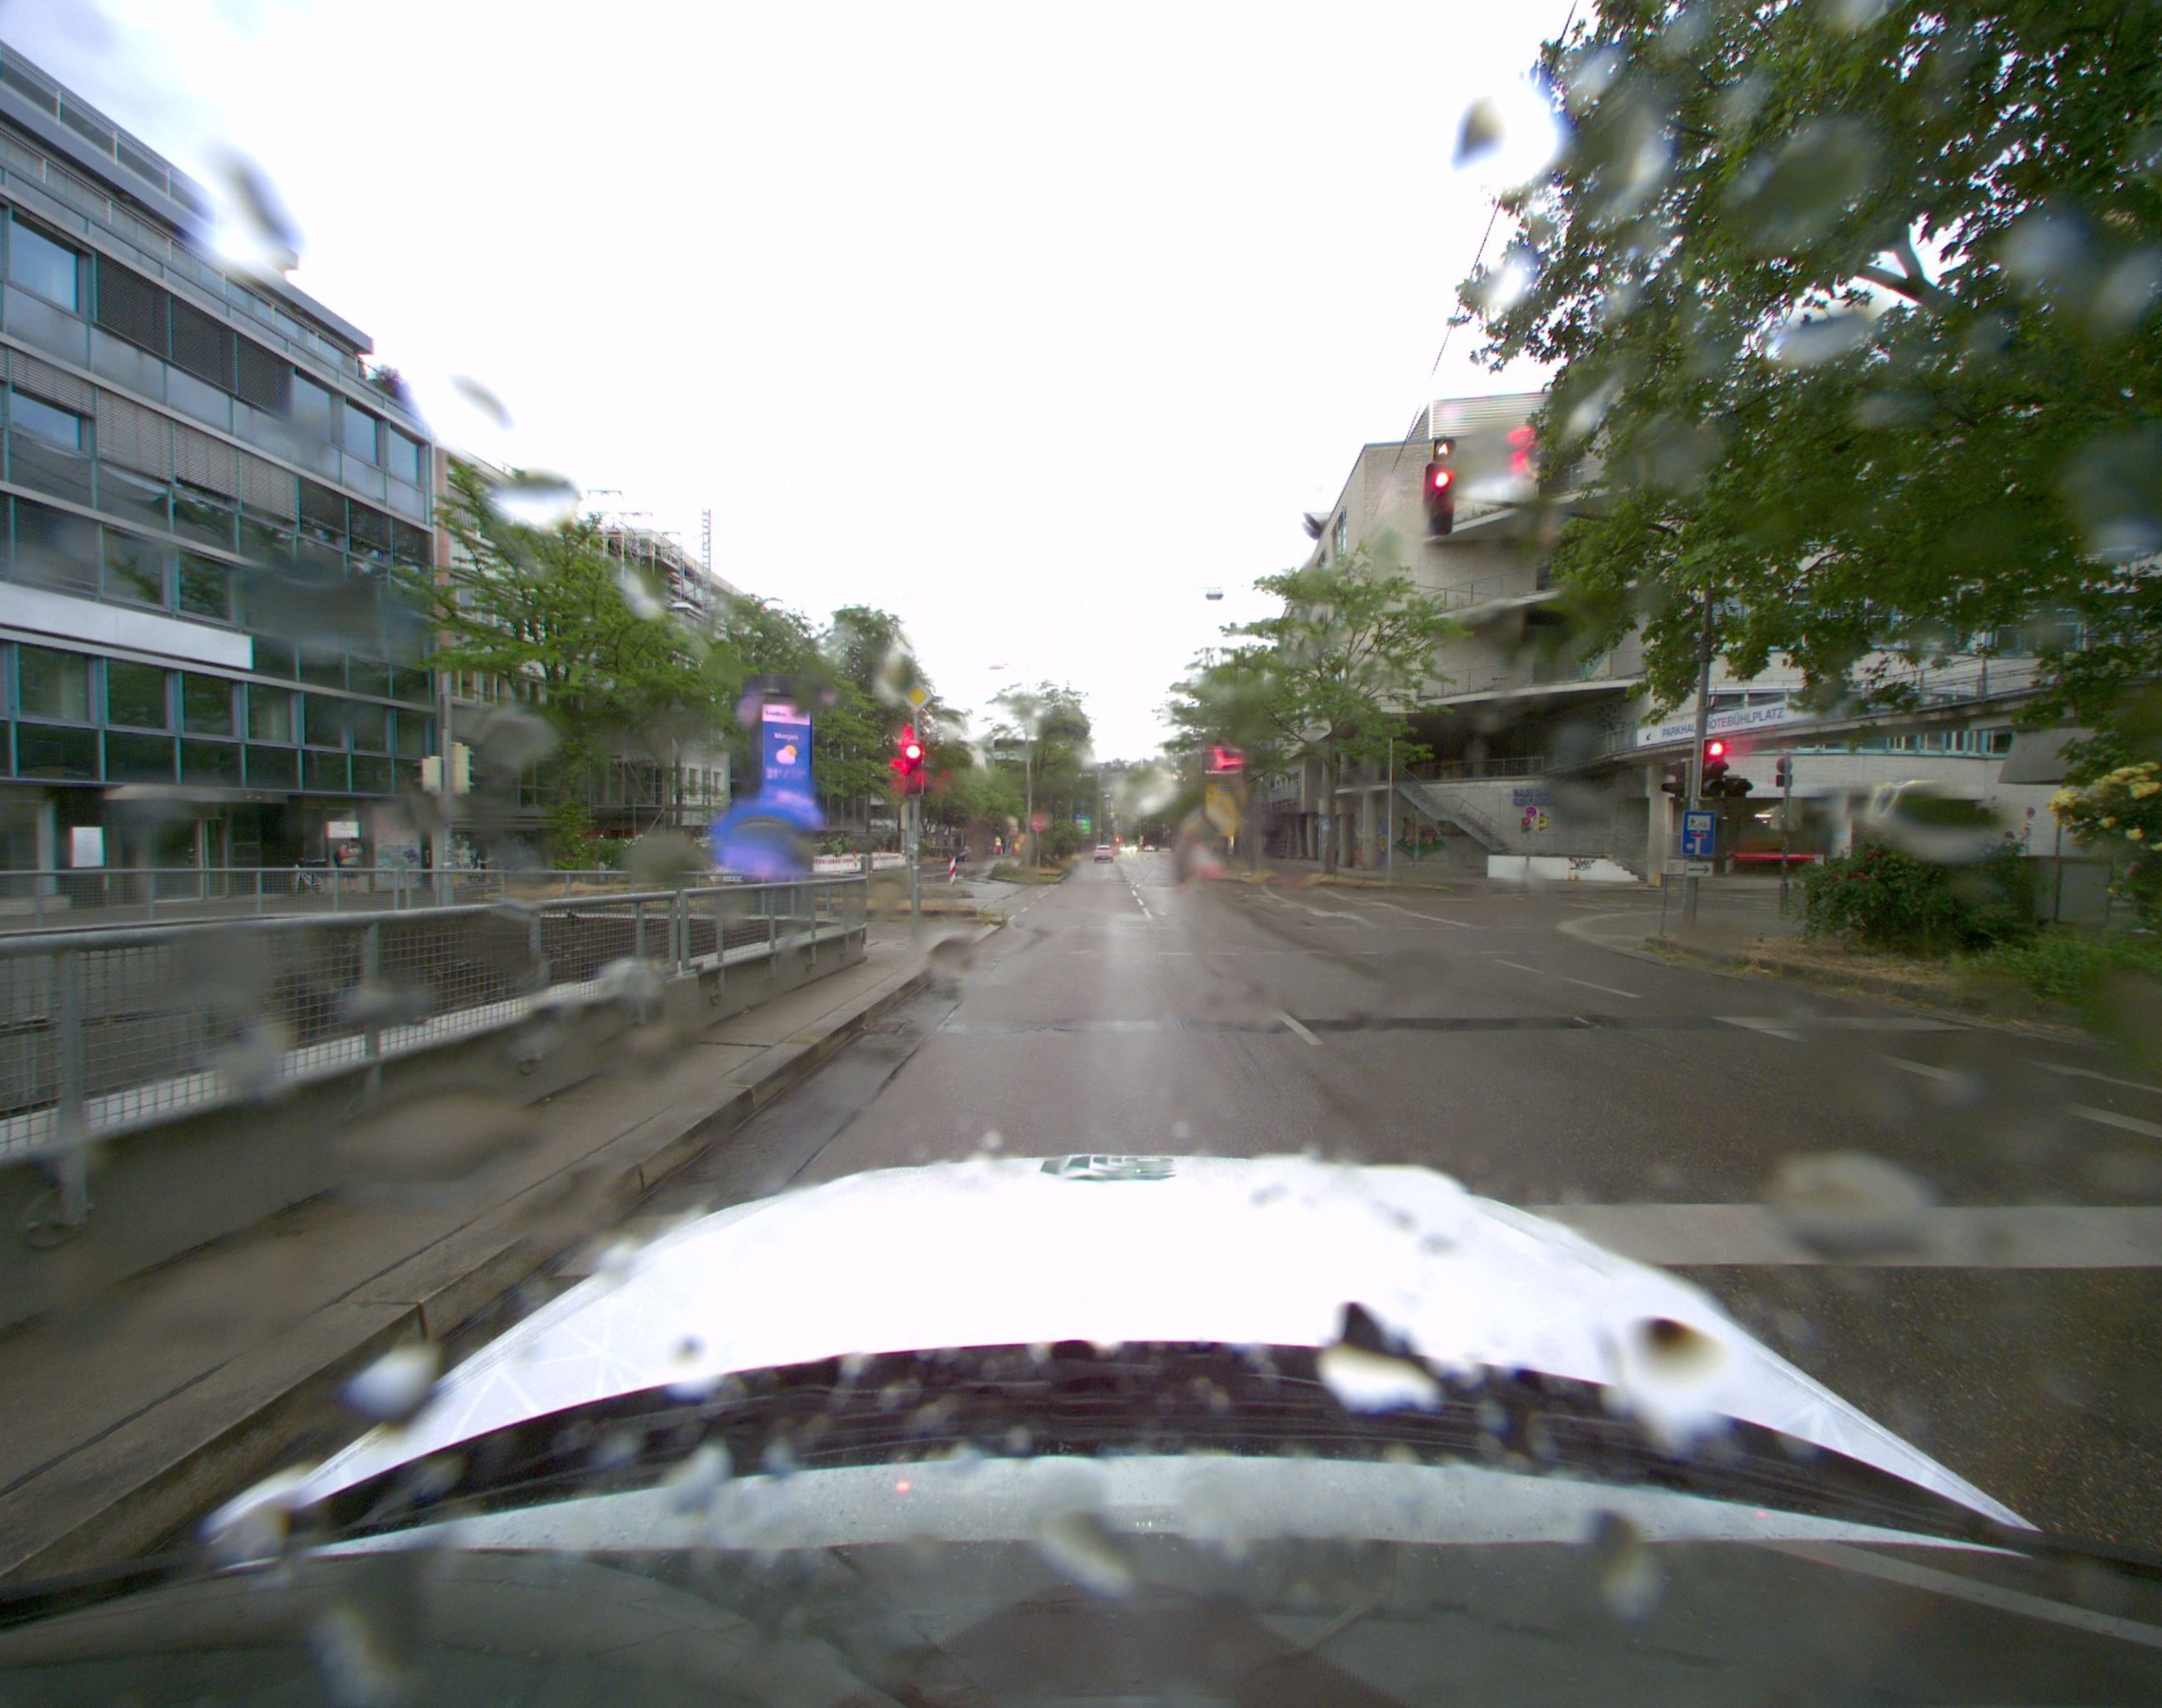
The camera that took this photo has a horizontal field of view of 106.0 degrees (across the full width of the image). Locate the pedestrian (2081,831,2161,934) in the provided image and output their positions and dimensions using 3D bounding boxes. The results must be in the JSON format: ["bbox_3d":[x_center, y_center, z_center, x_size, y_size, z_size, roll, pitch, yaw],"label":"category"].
[{"bbox_3d":[19.920,0.528,15.503,0.843,1.910,0.758,0,0,1],"label":"pedestrian"}]

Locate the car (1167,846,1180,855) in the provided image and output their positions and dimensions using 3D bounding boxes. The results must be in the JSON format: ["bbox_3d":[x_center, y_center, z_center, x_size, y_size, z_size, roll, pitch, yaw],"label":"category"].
[{"bbox_3d":[17.627,-0.653,155.067,1.986,1.723,4.001,0,-1,1],"label":"car"}]

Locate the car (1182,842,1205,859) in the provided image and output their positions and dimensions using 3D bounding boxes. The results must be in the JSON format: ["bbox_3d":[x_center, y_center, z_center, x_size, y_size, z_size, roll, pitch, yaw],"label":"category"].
[{"bbox_3d":[11.537,-0.353,83.351,2.324,1.691,4.010,0,0,9],"label":"car"}]

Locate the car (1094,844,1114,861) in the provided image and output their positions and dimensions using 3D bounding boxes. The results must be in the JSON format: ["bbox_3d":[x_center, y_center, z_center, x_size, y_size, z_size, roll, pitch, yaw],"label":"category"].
[{"bbox_3d":[2.229,-0.139,79.712,1.823,1.640,4.300,1,0,0],"label":"car"}]

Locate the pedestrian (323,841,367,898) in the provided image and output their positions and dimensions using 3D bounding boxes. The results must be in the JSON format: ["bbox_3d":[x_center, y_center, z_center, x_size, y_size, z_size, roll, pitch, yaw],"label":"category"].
[{"bbox_3d":[-22.808,0.481,25.245,0.694,1.741,0.694,1,0,-4],"label":"pedestrian"}]

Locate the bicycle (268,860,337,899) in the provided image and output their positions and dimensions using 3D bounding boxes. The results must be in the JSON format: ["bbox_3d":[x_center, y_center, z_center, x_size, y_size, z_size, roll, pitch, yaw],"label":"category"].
[{"bbox_3d":[-22.954,0.745,24.045,0.444,1.085,1.567,0,0,6],"label":"bicycle"}]

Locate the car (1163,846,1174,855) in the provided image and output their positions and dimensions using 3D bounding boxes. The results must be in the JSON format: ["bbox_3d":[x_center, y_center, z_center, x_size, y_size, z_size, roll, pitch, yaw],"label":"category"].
[{"bbox_3d":[17.866,-0.667,166.647,1.986,1.736,4.001,0,-1,2],"label":"car"}]

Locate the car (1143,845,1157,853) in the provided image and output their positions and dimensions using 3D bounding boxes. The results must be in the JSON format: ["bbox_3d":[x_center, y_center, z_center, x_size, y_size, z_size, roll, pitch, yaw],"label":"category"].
[{"bbox_3d":[17.128,-1.284,201.622,1.975,1.758,4.024,1,0,30],"label":"car"}]

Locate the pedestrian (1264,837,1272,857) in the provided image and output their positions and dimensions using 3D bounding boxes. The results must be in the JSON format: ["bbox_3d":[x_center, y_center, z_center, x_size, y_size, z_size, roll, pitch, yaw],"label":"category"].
[{"bbox_3d":[18.785,-0.695,81.788,0.770,1.920,0.705,-1,-1,11],"label":"pedestrian"}]
